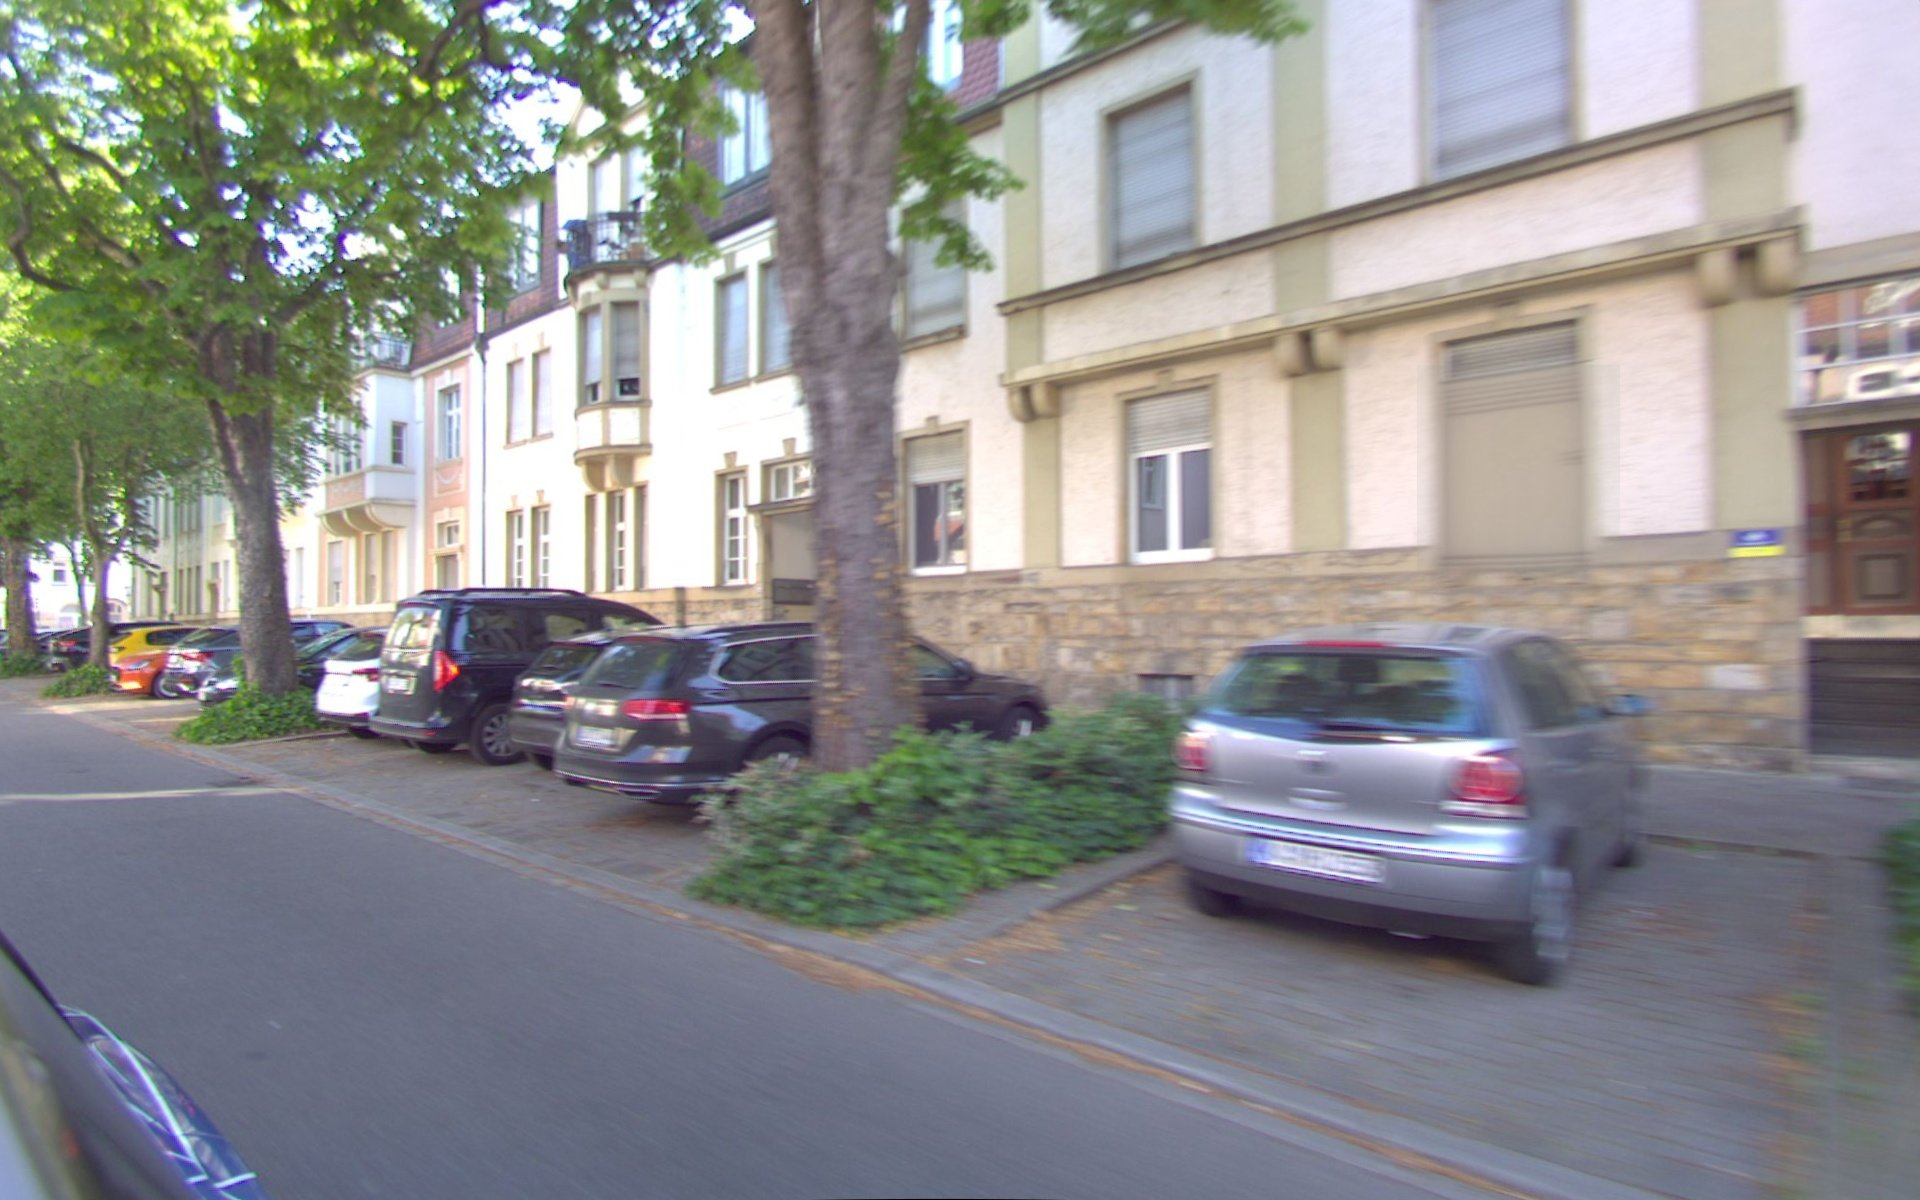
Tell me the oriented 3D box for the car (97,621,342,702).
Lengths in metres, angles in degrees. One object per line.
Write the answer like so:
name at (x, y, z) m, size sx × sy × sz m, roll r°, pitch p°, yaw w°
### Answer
car at (-15.692, 1.230, 21.599) m, size 1.746 × 1.526 × 3.946 m, roll -1°, pitch -1°, yaw 40°

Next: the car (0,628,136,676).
car at (-30.108, 1.706, 34.131) m, size 1.703 × 1.463 × 3.396 m, roll -1°, pitch -1°, yaw 43°

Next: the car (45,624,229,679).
car at (-24.047, 1.481, 29.678) m, size 1.722 × 1.519 × 3.944 m, roll -1°, pitch -3°, yaw 42°

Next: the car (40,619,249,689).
car at (-20.796, 1.310, 25.925) m, size 1.863 × 1.578 × 3.944 m, roll -1°, pitch -1°, yaw 42°

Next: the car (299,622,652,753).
car at (-6.344, 1.044, 13.637) m, size 1.739 × 1.459 × 3.950 m, roll -1°, pitch -1°, yaw 37°

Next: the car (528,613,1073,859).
car at (-1.055, 0.876, 8.622) m, size 1.890 × 1.514 × 4.487 m, roll -1°, pitch -1°, yaw 39°

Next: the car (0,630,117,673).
car at (-32.161, 1.768, 35.199) m, size 1.702 × 1.359 × 4.169 m, roll -1°, pitch -1°, yaw 40°

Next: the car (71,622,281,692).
car at (-18.806, 1.304, 24.378) m, size 1.863 × 1.473 × 3.750 m, roll -1°, pitch -1°, yaw 42°

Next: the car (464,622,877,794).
car at (-2.890, 0.972, 10.814) m, size 1.827 × 1.448 × 3.941 m, roll -1°, pitch -1°, yaw 38°

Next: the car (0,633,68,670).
car at (-37.968, 2.017, 39.952) m, size 1.611 × 1.426 × 3.849 m, roll -1°, pitch -2°, yaw 34°

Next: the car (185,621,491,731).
car at (-9.844, 1.110, 16.187) m, size 3.857 × 1.457 × 1.860 m, roll 0°, pitch -1°, yaw -45°

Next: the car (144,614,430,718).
car at (-12.009, 1.093, 18.252) m, size 1.858 × 1.604 × 3.947 m, roll -2°, pitch -1°, yaw 40°

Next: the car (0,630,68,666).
car at (-40.195, 1.996, 42.514) m, size 1.614 × 1.487 × 3.842 m, roll -1°, pitch -3°, yaw 40°

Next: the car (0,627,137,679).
car at (-28.706, 1.644, 32.011) m, size 1.785 × 1.493 × 3.944 m, roll -1°, pitch -1°, yaw 42°

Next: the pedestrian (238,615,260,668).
pedestrian at (-22.872, 1.322, 32.560) m, size 0.454 × 1.671 × 0.896 m, roll 1°, pitch -2°, yaw -41°

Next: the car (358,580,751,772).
car at (-4.615, 0.772, 11.980) m, size 1.827 × 1.870 × 3.940 m, roll -1°, pitch -1°, yaw 39°

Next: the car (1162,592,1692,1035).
car at (2.695, 0.753, 5.367) m, size 1.640 × 1.499 × 3.637 m, roll -1°, pitch -1°, yaw 40°
